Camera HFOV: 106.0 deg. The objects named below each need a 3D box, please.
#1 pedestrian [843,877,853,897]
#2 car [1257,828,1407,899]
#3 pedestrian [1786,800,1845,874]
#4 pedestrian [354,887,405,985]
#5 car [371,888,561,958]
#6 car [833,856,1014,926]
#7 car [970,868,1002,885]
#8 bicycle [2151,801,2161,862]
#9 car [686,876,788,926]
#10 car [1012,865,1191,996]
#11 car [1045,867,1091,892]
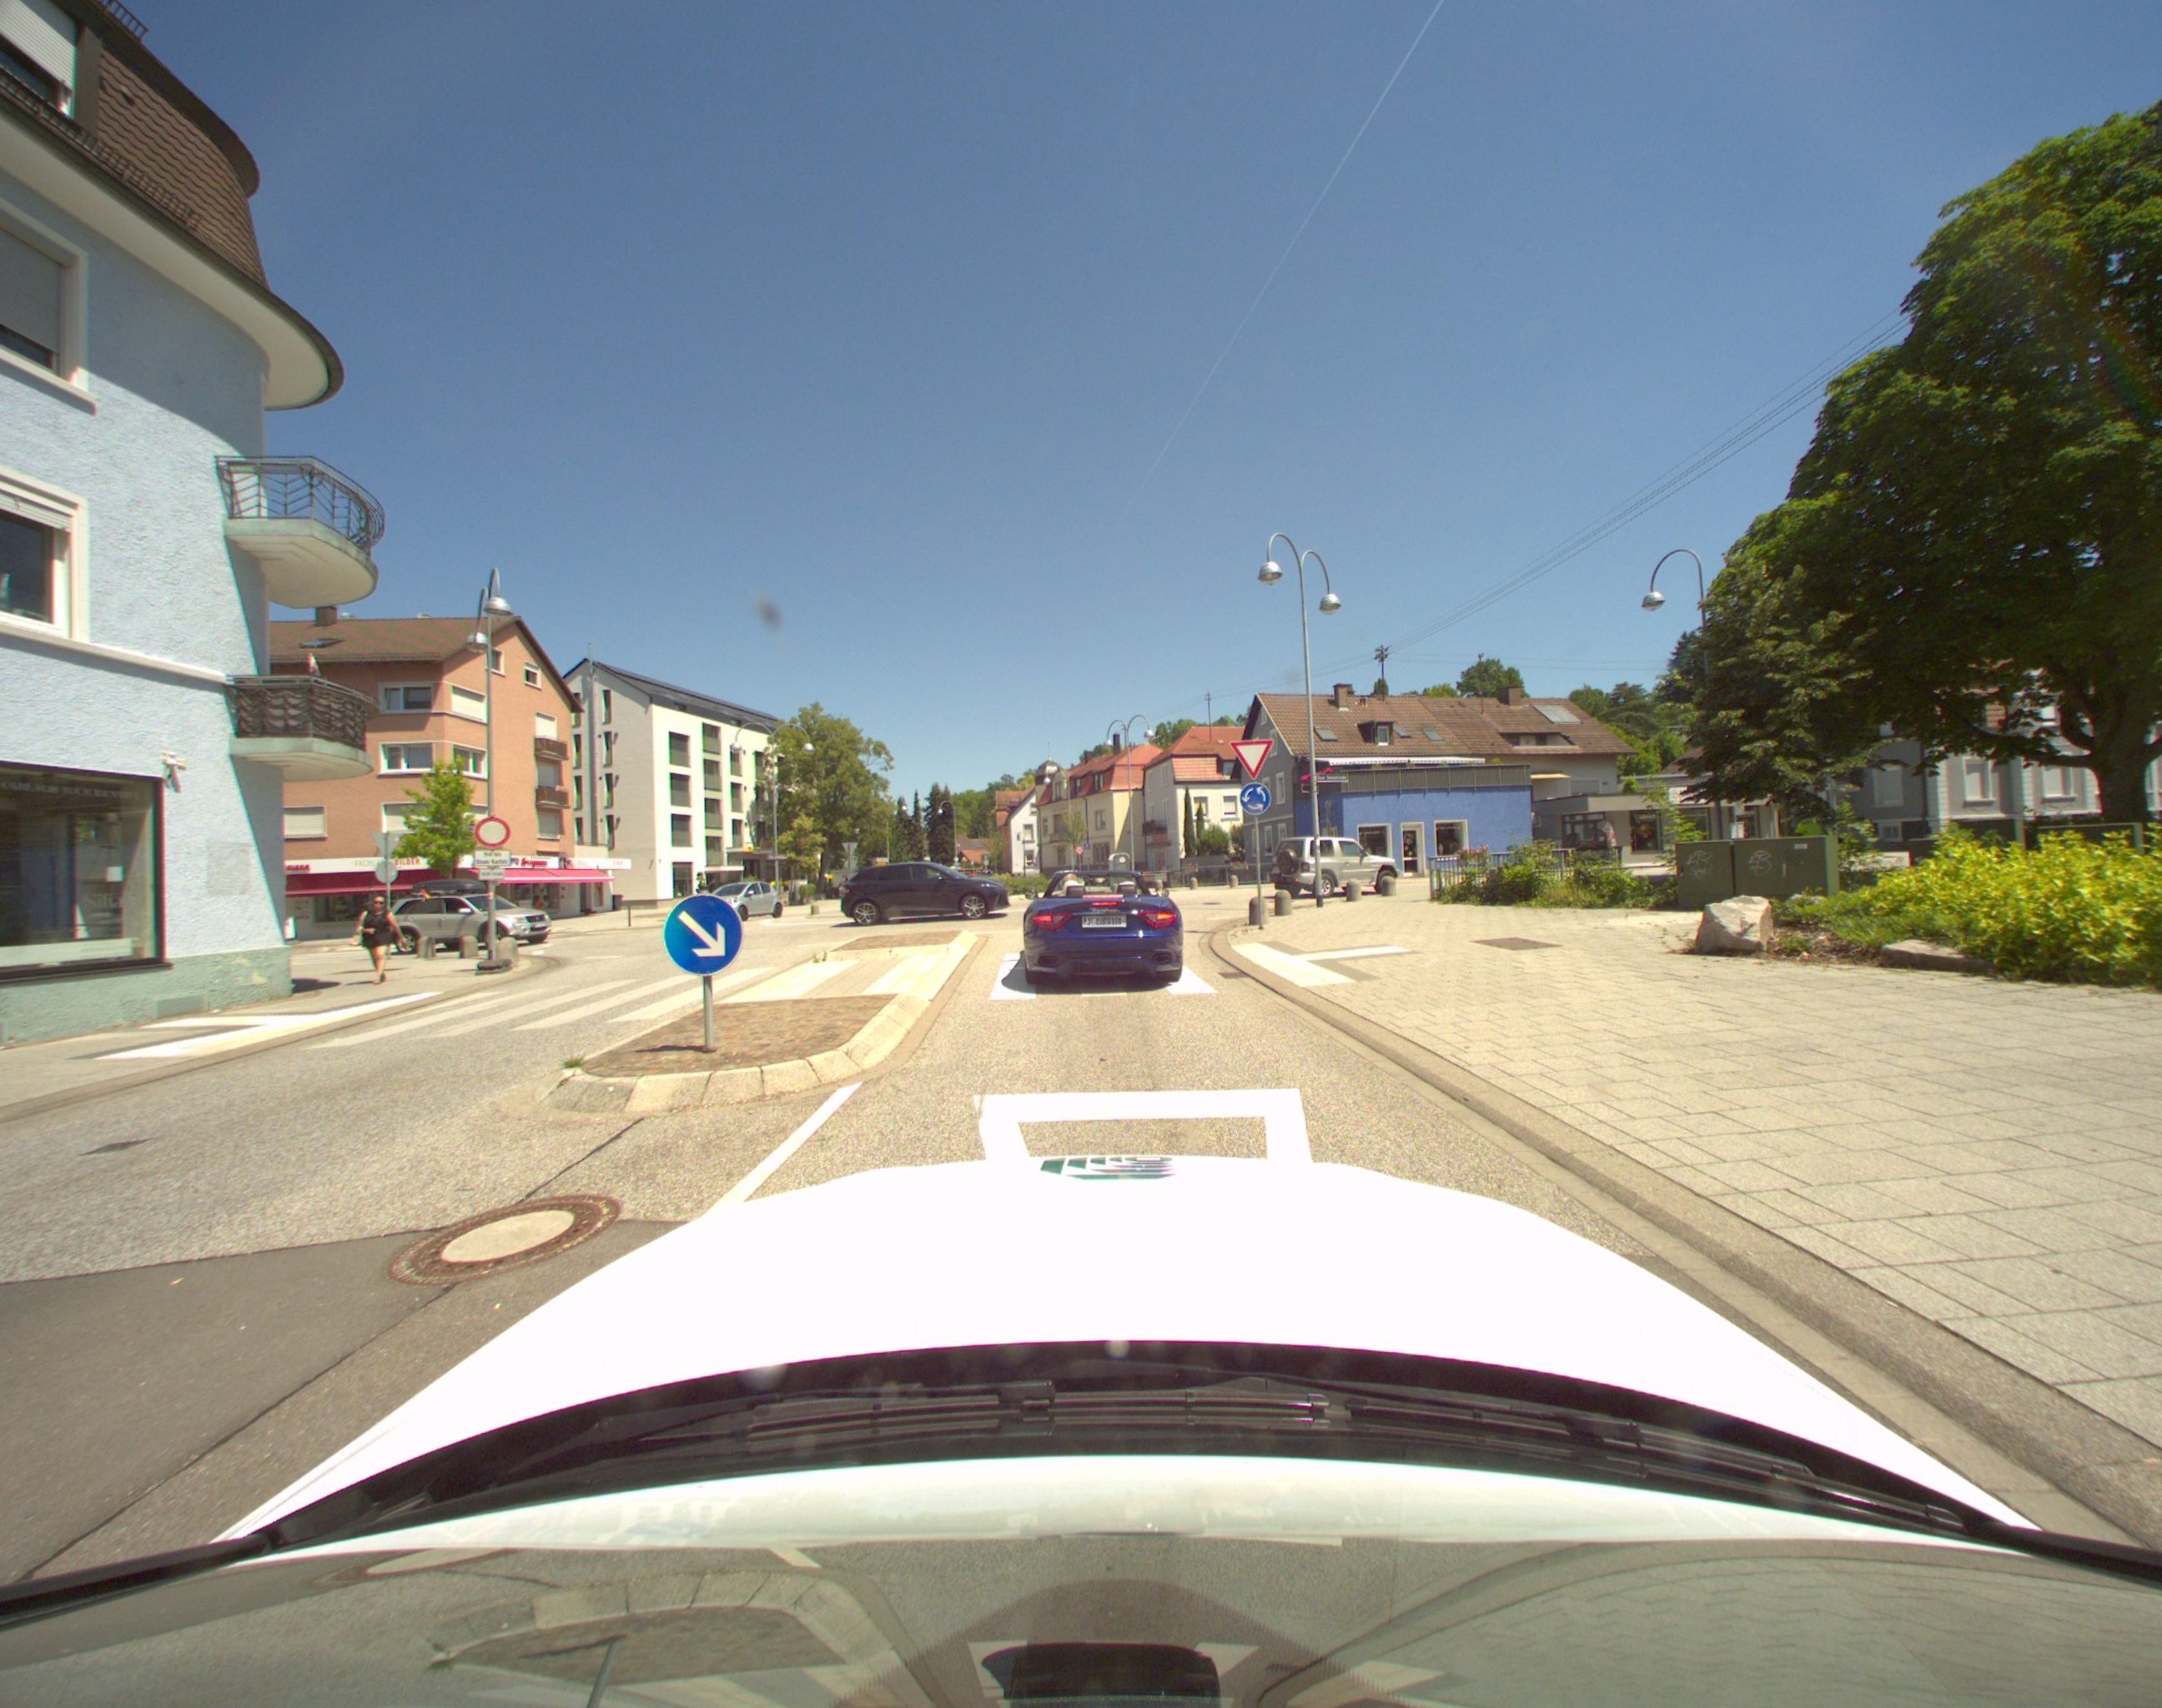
[{"bbox_3d":[-19.524,2.761,68.262,0.531,1.576,0.564,-3,-1,11],"label":"pedestrian"},{"bbox_3d":[7.667,0.241,24.839,4.237,1.875,1.749,-3,1,-25],"label":"car"},{"bbox_3d":[18.592,-0.428,20.630,0.734,1.799,0.680,-4,0,-2],"label":"pedestrian"},{"bbox_3d":[-11.977,1.383,13.901,0.508,1.585,0.550,-4,-1,42],"label":"pedestrian"},{"bbox_3d":[-18.229,2.023,24.275,4.173,1.688,1.838,-4,0,1],"label":"car"},{"bbox_3d":[-3.964,0.924,20.997,4.235,1.547,1.811,-3,-1,0],"label":"car"},{"bbox_3d":[-9.859,2.375,84.510,1.862,1.588,3.961,-3,-1,-29],"label":"car"},{"bbox_3d":[19.813,-0.440,13.816,0.748,1.083,1.836,-3,-1,-22],"label":"bicycle"},{"bbox_3d":[-12.436,1.679,29.673,1.564,1.450,3.483,-5,0,13],"label":"car"},{"bbox_3d":[0.307,0.867,10.990,1.903,1.360,4.287,-2,-1,2],"label":"car"},{"bbox_3d":[-0.961,1.816,57.242,1.924,1.613,4.120,-3,-2,-19],"label":"car"}]
